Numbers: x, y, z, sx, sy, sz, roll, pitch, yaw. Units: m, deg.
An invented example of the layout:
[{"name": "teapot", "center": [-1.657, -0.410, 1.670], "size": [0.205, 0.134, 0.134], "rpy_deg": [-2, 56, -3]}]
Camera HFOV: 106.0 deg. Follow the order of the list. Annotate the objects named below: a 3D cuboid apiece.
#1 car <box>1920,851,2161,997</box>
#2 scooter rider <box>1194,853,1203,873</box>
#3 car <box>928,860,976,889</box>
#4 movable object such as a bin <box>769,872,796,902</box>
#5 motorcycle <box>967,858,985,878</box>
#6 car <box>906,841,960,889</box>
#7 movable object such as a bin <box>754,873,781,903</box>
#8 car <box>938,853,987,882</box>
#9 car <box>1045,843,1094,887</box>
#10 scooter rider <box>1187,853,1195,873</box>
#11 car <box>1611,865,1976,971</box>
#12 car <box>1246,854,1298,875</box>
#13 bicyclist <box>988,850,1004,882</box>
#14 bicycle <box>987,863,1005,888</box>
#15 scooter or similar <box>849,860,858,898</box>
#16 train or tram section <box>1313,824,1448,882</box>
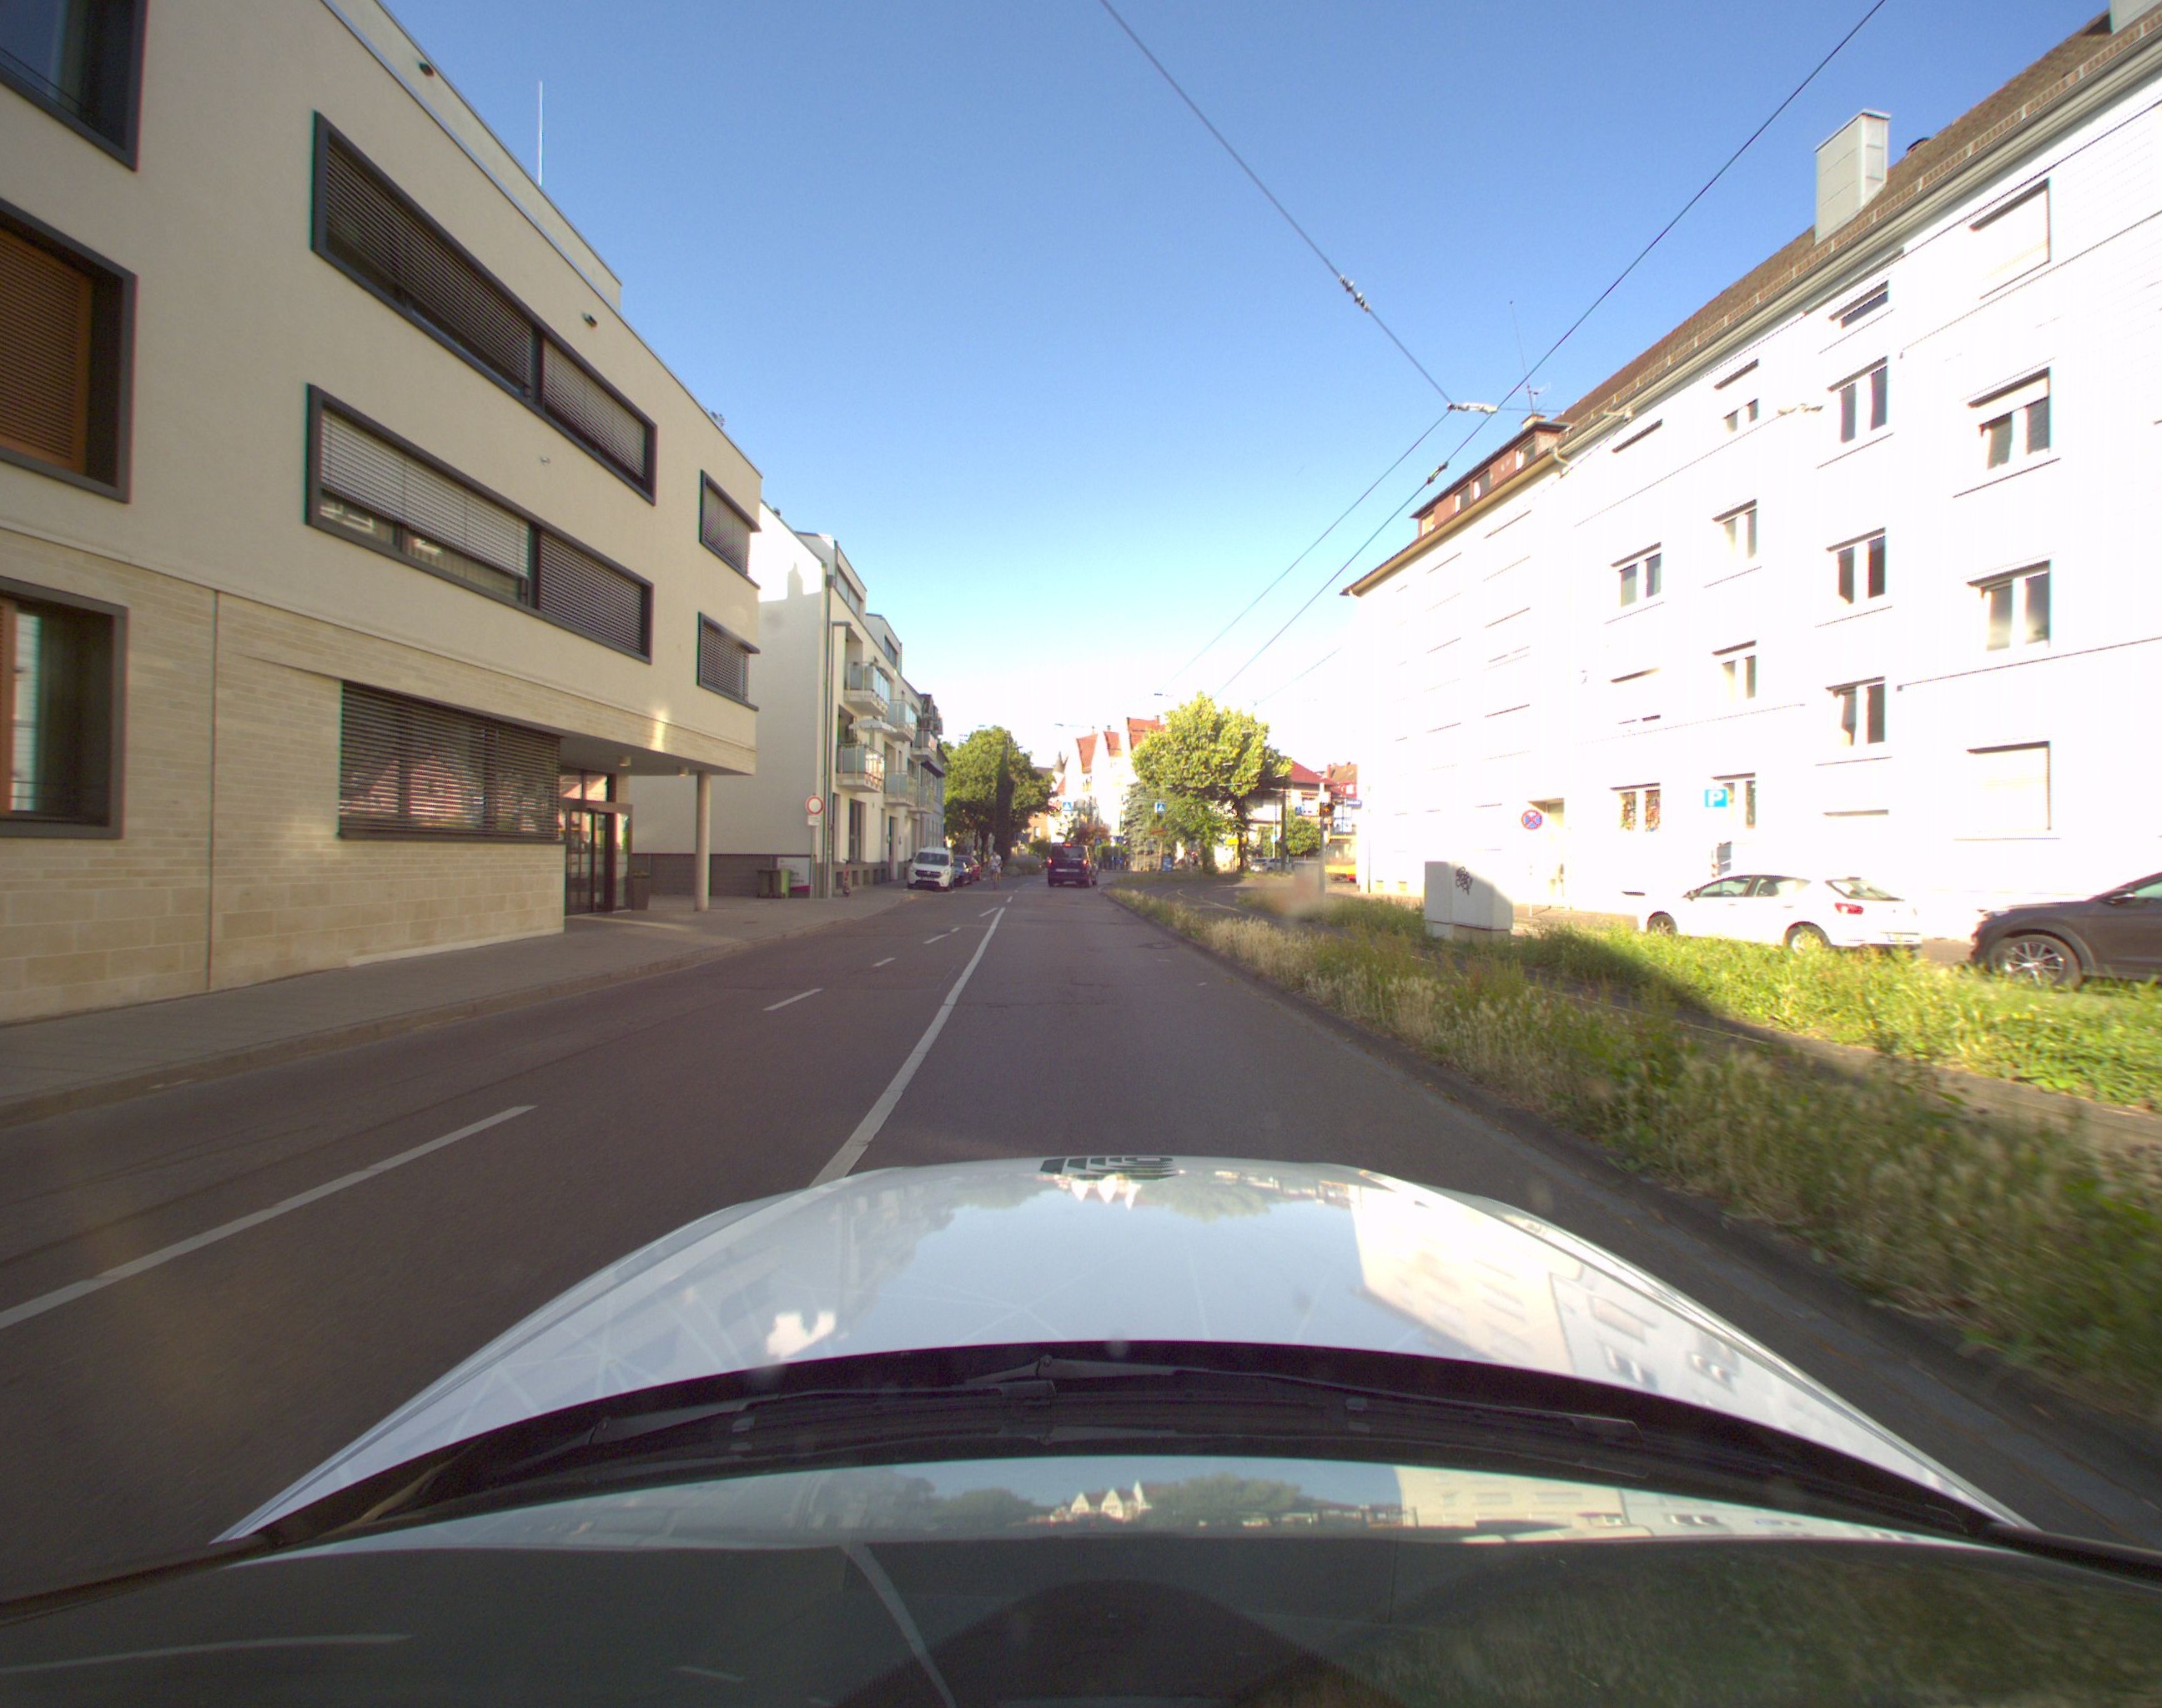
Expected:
[{"name": "car", "center": [12.668, 0.747, 8.855], "size": [1.994, 1.572, 4.625], "rpy_deg": [-1, -1, -10]}, {"name": "scooter rider", "center": [9.576, 0.724, 66.332], "size": [0.603, 1.672, 0.655], "rpy_deg": [-1, 0, 4]}, {"name": "car", "center": [-6.262, 0.980, 39.838], "size": [1.659, 1.273, 4.025], "rpy_deg": [2, -1, 0]}, {"name": "movable object such as a bin", "center": [-9.270, 1.024, 25.277], "size": [0.543, 0.901, 0.533], "rpy_deg": [0, -1, 20]}, {"name": "motorcycle", "center": [-7.129, 0.945, 55.117], "size": [0.932, 1.357, 2.552], "rpy_deg": [1, -1, -14]}, {"name": "car", "center": [-6.258, 0.463, 34.833], "size": [1.808, 1.869, 4.324], "rpy_deg": [2, -1, -5]}, {"name": "movable object such as a bin", "center": [-9.800, 1.056, 25.470], "size": [0.543, 0.901, 0.533], "rpy_deg": [0, -1, 20]}, {"name": "car", "center": [-6.622, 0.701, 45.894], "size": [1.701, 1.466, 4.598], "rpy_deg": [2, 1, 5]}, {"name": "car", "center": [-0.486, 0.489, 39.336], "size": [1.984, 2.013, 4.005], "rpy_deg": [1, 0, 4]}, {"name": "scooter rider", "center": [8.960, 0.724, 66.358], "size": [0.603, 1.672, 0.655], "rpy_deg": [-1, 0, 4]}, {"name": "car", "center": [11.853, 0.954, 14.035], "size": [1.996, 1.386, 4.426], "rpy_deg": [-1, 1, -13]}, {"name": "car", "center": [15.161, 0.833, 64.506], "size": [3.697, 1.505, 1.946], "rpy_deg": [-1, 0, -31]}, {"name": "bicyclist", "center": [-3.709, 0.518, 35.600], "size": [0.621, 1.380, 0.800], "rpy_deg": [-1, -1, -3]}, {"name": "bicycle", "center": [-3.702, 0.922, 35.503], "size": [0.621, 1.081, 1.782], "rpy_deg": [-1, -1, -2]}, {"name": "scooter or similar", "center": [-7.637, 0.822, 27.323], "size": [0.225, 1.220, 1.148], "rpy_deg": [1, 1, -17]}, {"name": "train or tram section", "center": [19.897, -0.088, 53.750], "size": [9.951, 3.555, 2.757], "rpy_deg": [0, 0, -31]}]
